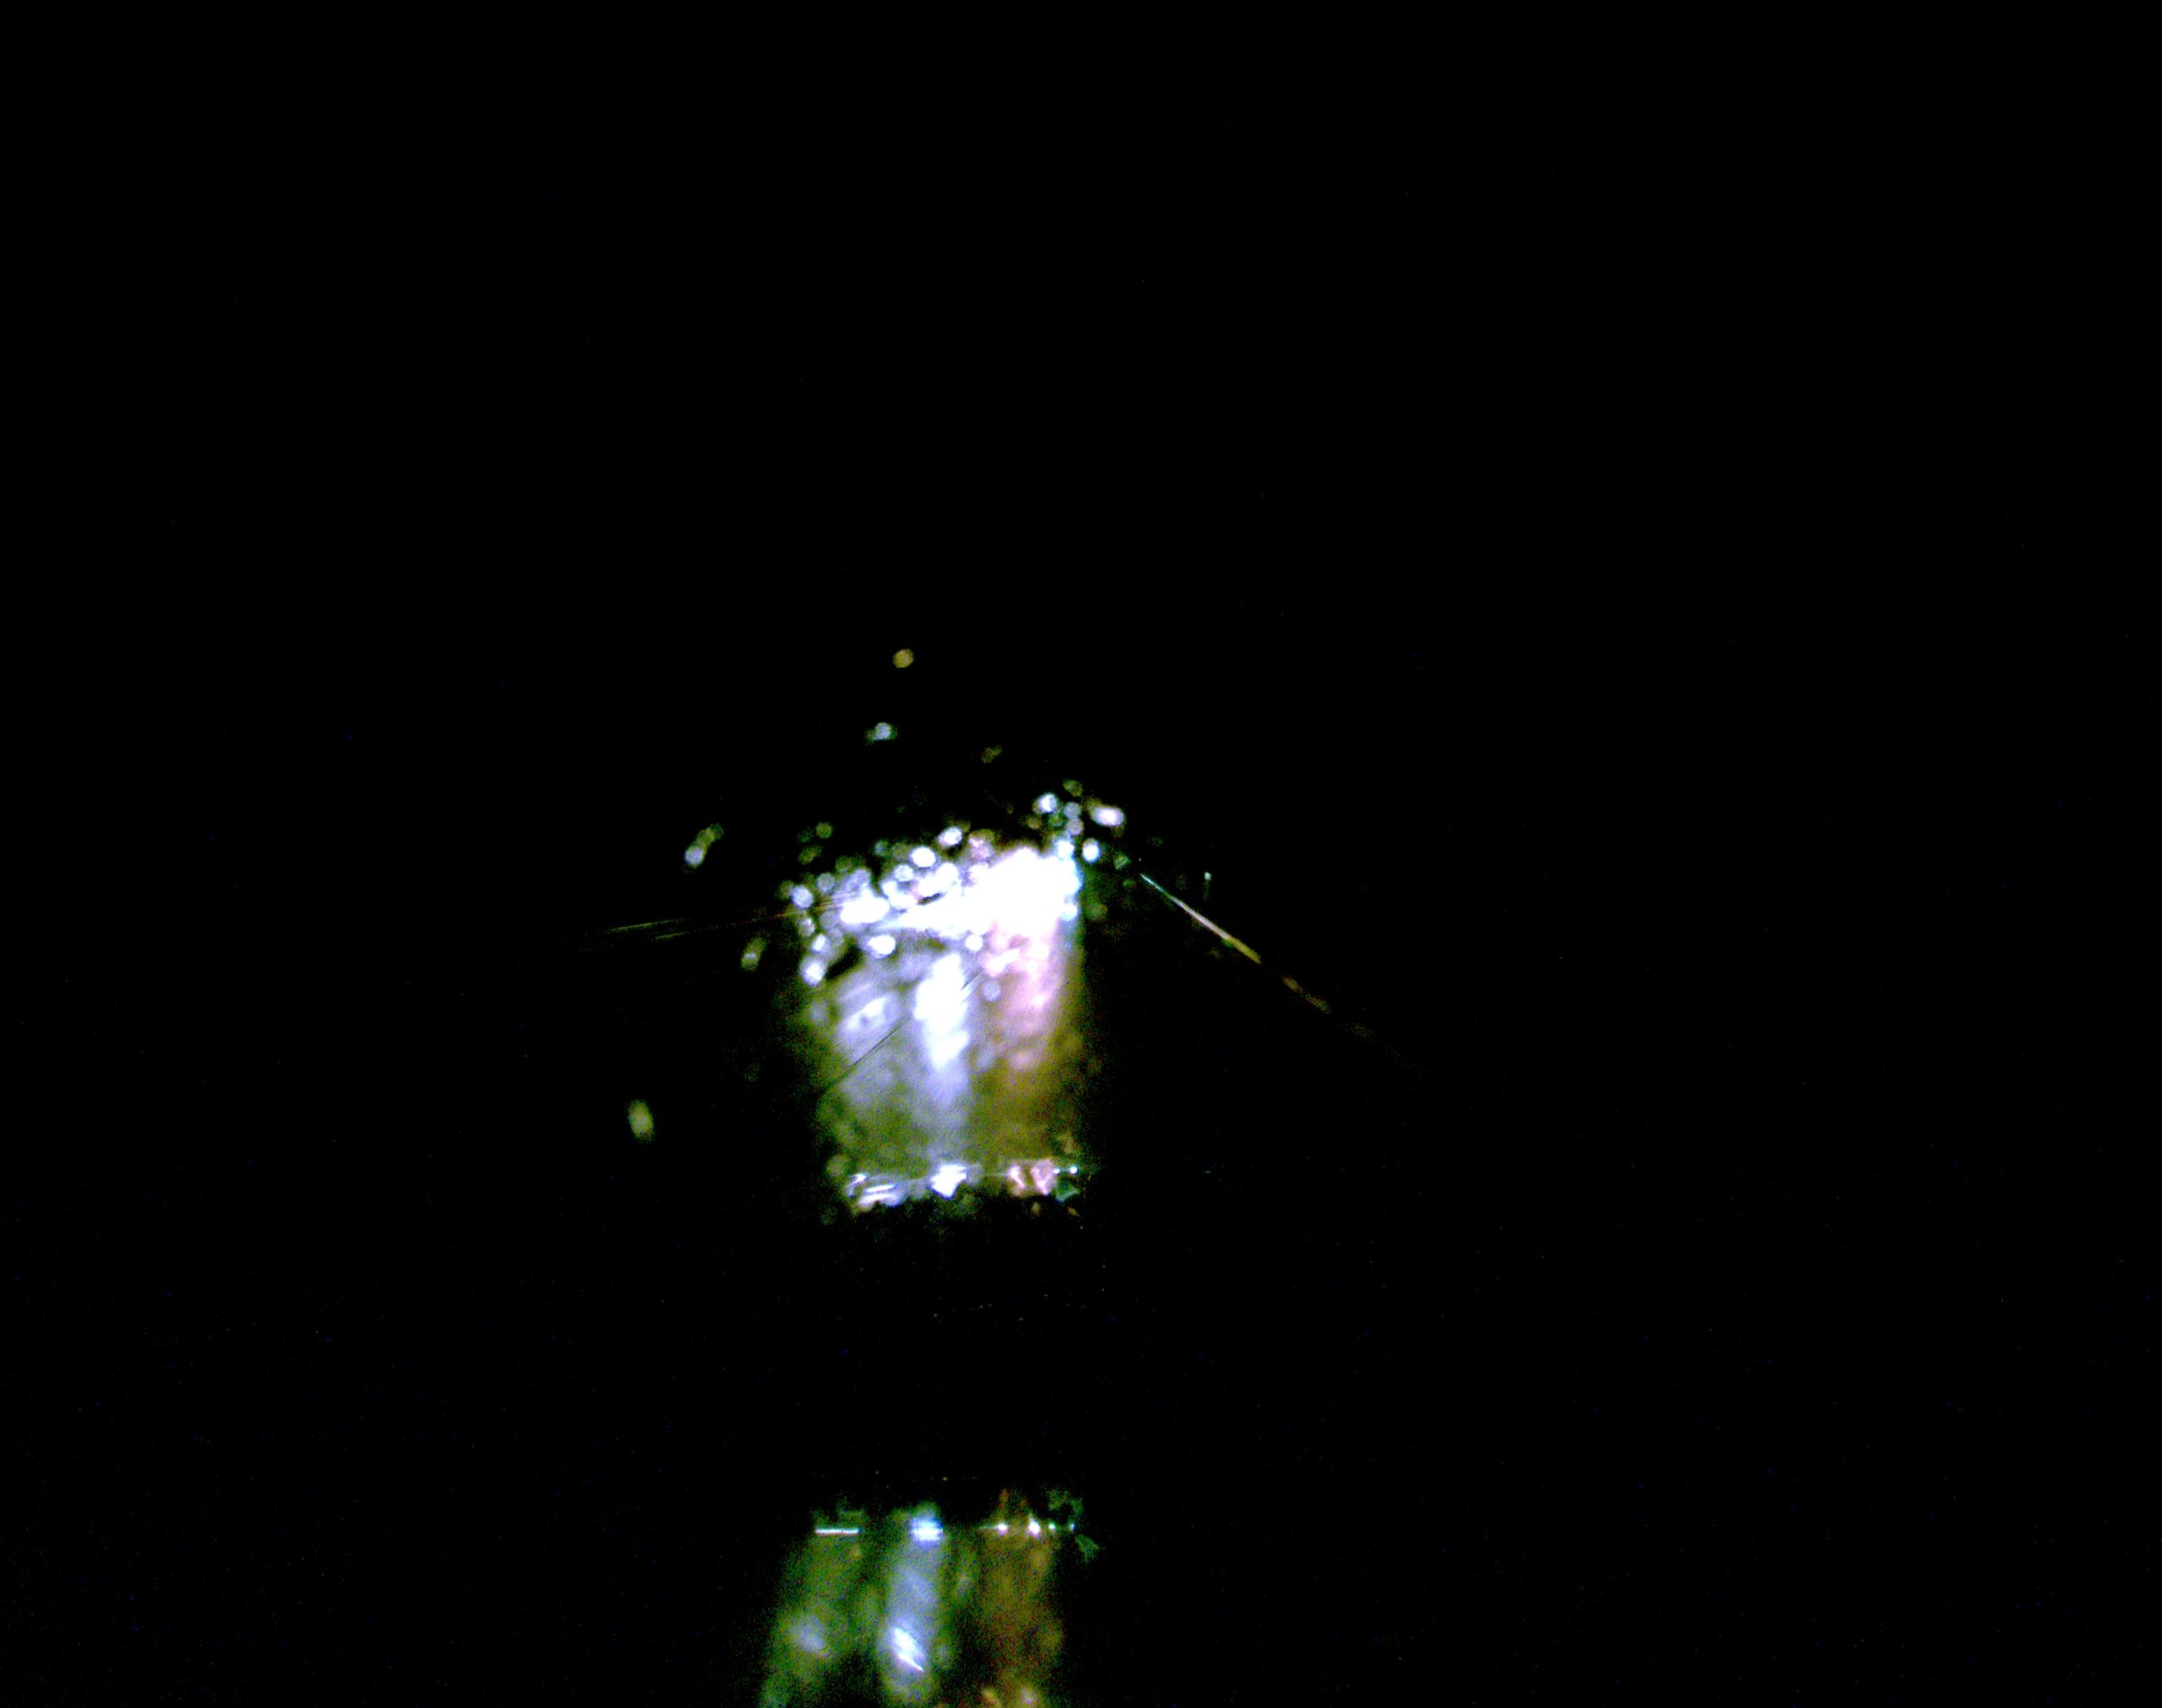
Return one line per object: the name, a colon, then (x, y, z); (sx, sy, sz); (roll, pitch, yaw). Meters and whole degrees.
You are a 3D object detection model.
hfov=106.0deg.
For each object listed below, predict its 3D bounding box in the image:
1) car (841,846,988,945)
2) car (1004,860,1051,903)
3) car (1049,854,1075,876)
car: (-2.945, 0.662, 15.236); (1.822, 1.456, 3.794); (-3, 2, 1)
car: (-2.363, 1.200, 37.045); (1.927, 1.587, 3.998); (-3, 2, -2)
car: (-1.431, 0.845, 62.975); (1.830, 1.471, 4.391); (-2, -3, 1)
